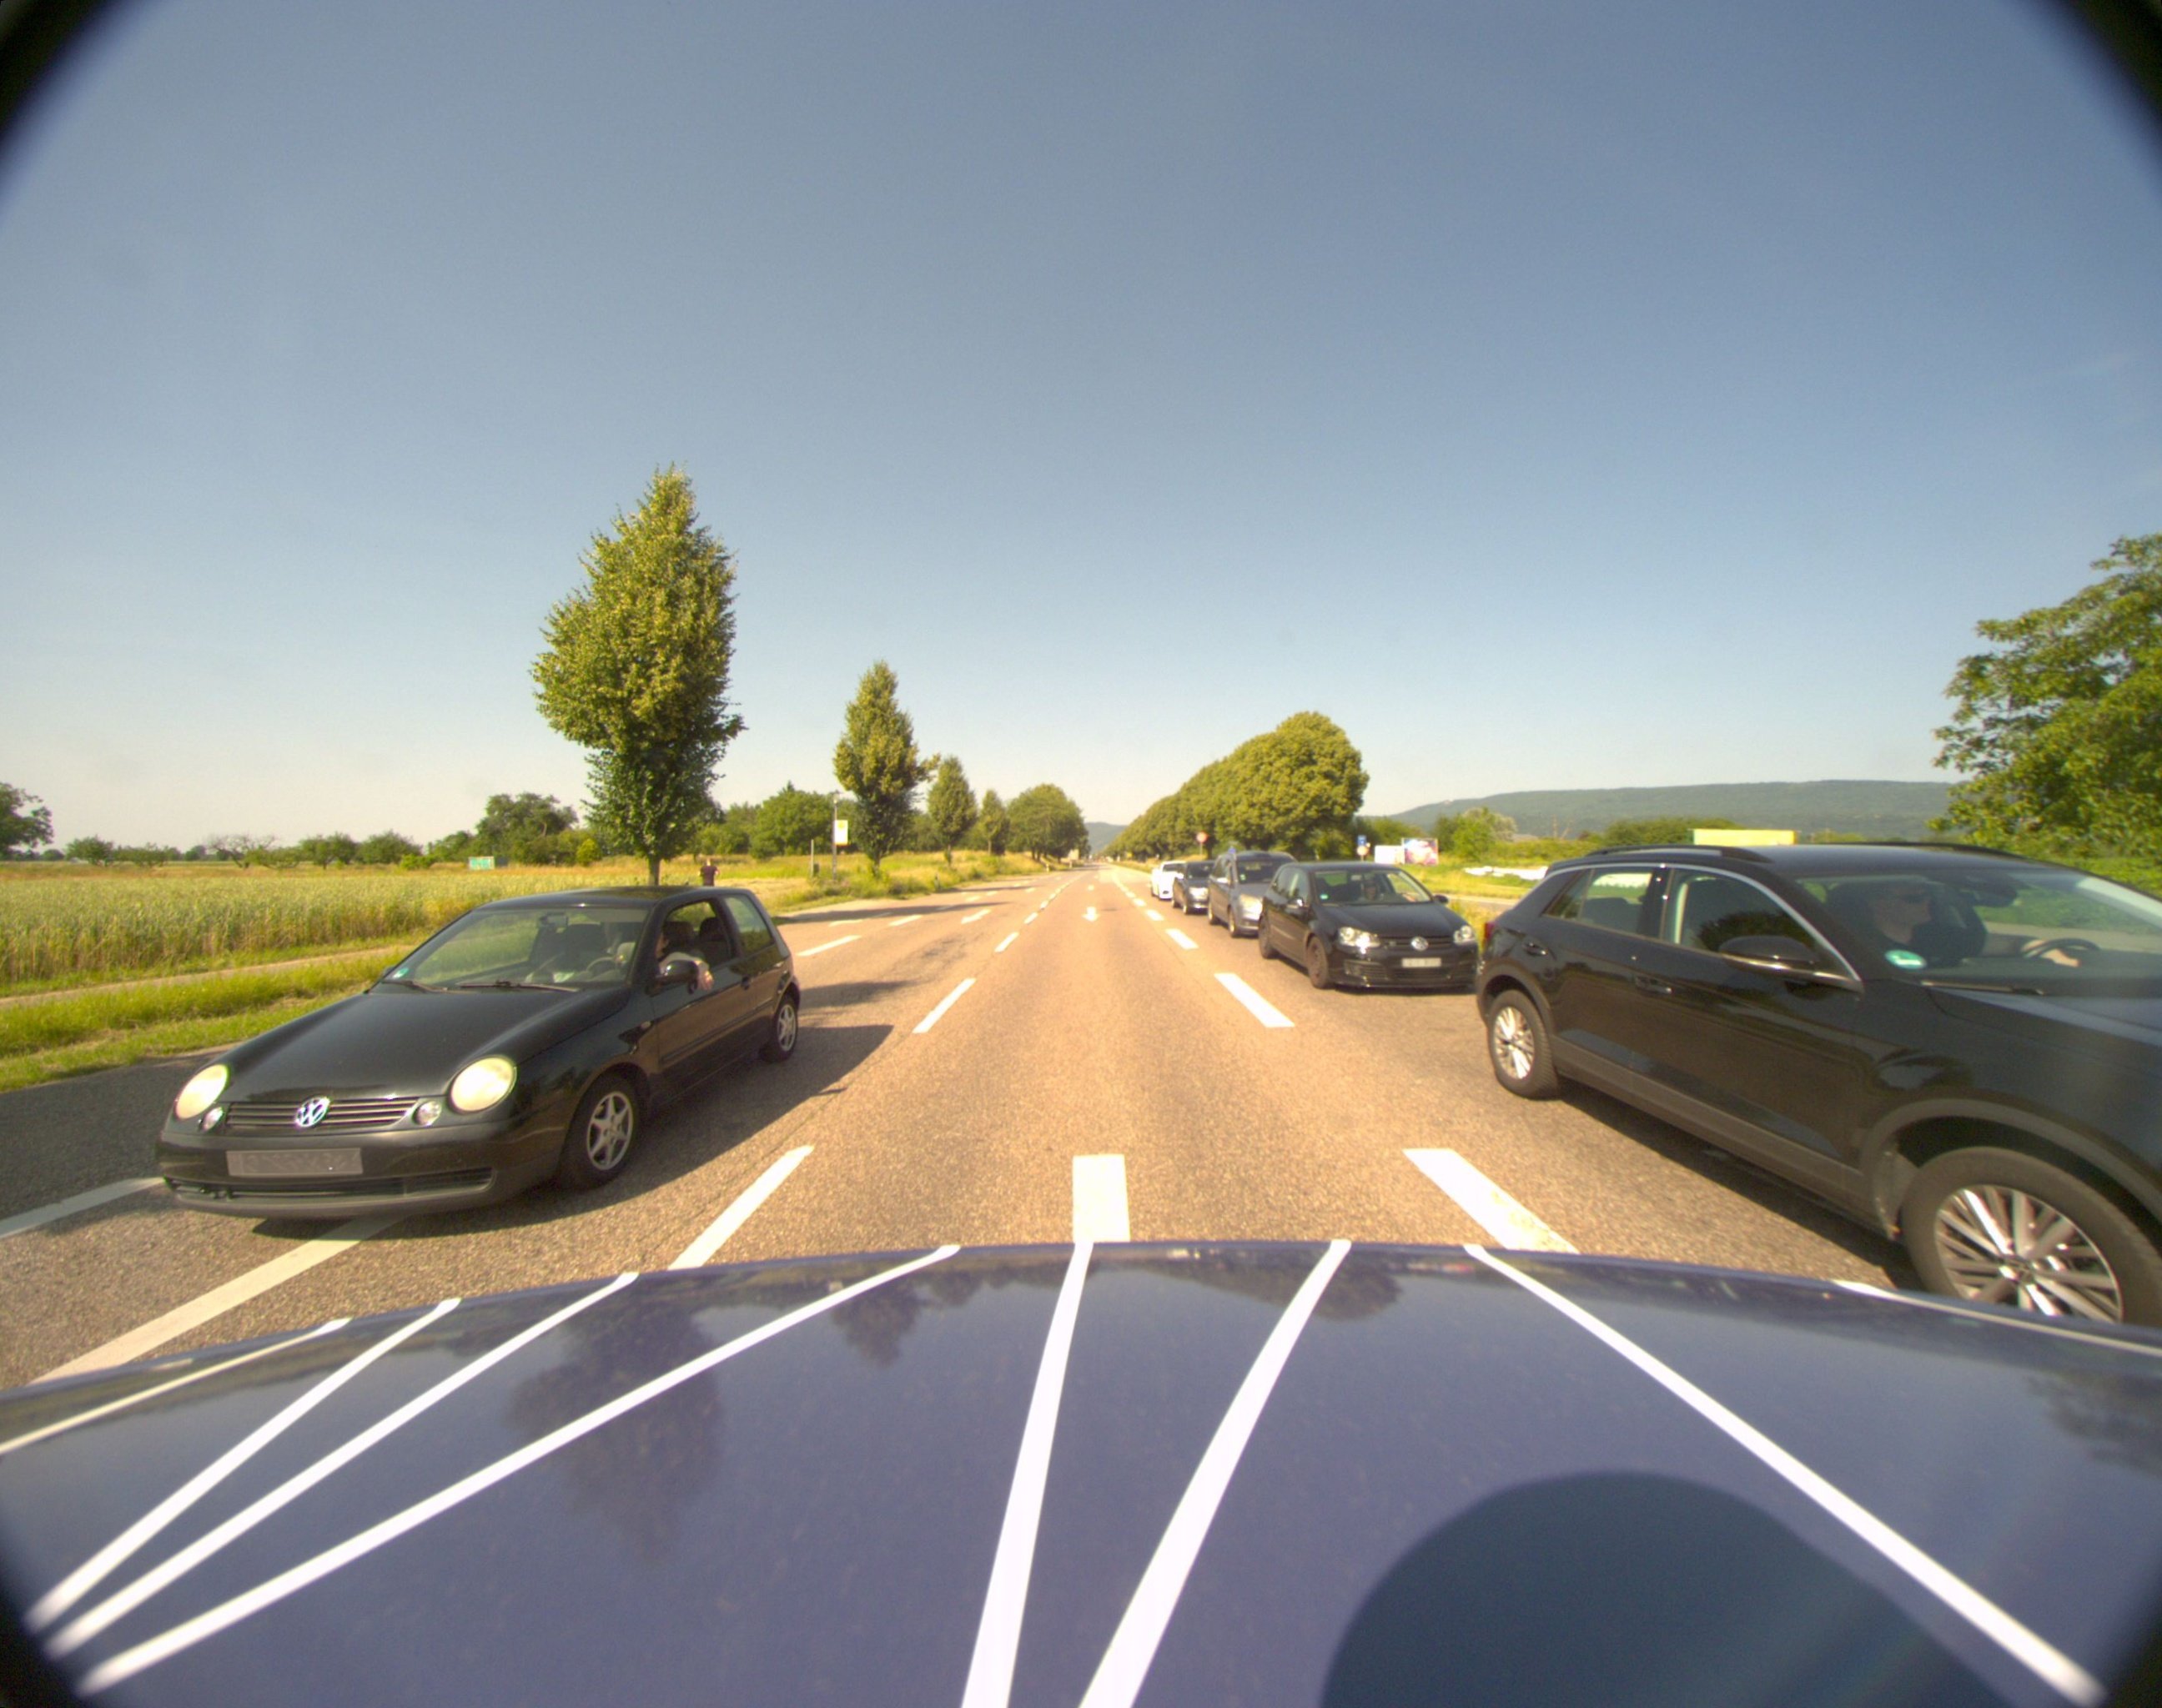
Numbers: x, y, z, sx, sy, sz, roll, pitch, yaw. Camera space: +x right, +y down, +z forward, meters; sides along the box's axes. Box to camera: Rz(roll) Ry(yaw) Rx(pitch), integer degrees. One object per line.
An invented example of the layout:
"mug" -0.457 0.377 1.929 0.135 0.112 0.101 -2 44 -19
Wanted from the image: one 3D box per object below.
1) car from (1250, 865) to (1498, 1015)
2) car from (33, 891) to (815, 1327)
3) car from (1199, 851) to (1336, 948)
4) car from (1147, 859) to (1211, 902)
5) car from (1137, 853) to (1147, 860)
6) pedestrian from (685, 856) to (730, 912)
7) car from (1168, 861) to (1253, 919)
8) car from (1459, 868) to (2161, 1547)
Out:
"car" 3.443 0.906 9.800 1.670 1.466 4.098 -1 0 1
"car" -3.106 1.052 4.679 1.629 1.425 3.622 -2 0 0
"car" 3.603 0.800 15.471 1.745 1.662 4.357 -1 0 1
"car" 3.583 0.937 28.481 1.808 1.417 4.641 -1 0 1
"car" 15.922 0.728 198.394 1.998 1.830 4.954 2 0 1
"pedestrian" -12.374 0.974 25.226 0.904 1.828 1.194 0 0 -1
"car" 3.560 0.940 21.564 1.718 1.402 4.355 -1 0 1
"car" 3.454 0.871 3.208 1.733 1.538 4.098 -1 0 1
